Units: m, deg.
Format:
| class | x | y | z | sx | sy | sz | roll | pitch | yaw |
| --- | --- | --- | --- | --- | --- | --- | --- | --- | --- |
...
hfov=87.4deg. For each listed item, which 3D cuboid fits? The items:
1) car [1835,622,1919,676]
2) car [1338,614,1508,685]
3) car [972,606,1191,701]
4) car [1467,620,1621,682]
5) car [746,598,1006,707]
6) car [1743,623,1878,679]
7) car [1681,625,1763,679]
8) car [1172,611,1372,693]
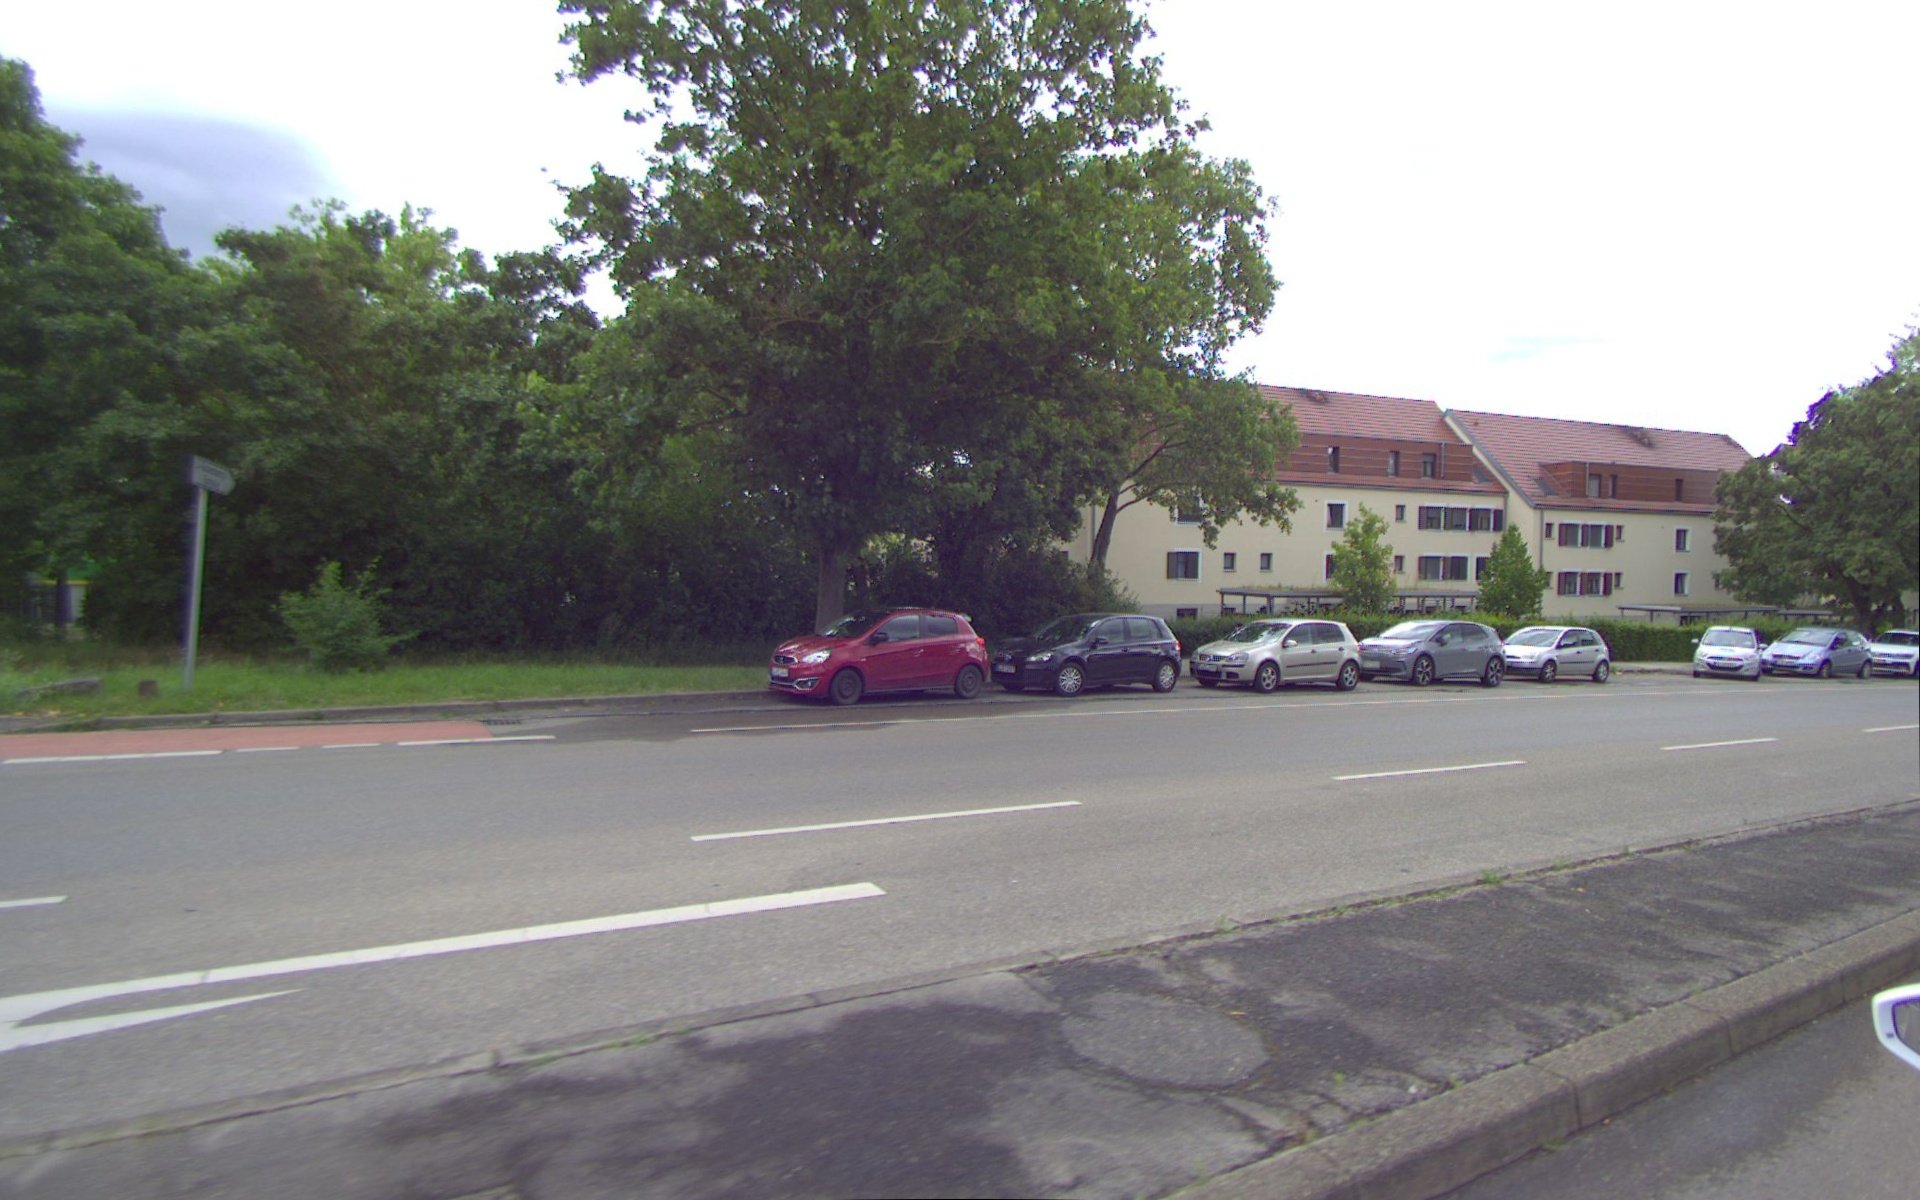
| class | x | y | z | sx | sy | sz | roll | pitch | yaw |
| --- | --- | --- | --- | --- | --- | --- | --- | --- | --- |
| car | 33.051 | 1.749 | 35.222 | 4.330 | 1.689 | 1.870 | 3 | 0 | -24 |
| car | 11.282 | 1.197 | 24.433 | 3.955 | 1.527 | 1.865 | 2 | 0 | -32 |
| car | 2.337 | 0.966 | 18.862 | 3.968 | 1.527 | 1.859 | 2 | 0 | -41 |
| car | 15.783 | 1.357 | 27.140 | 3.953 | 1.527 | 1.866 | 2 | 0 | -30 |
| car | -1.319 | 0.815 | 16.498 | 3.854 | 1.527 | 1.860 | 2 | 1 | -38 |
| car | 28.254 | 1.680 | 33.375 | 3.945 | 1.618 | 1.870 | 3 | 0 | -24 |
| car | 23.892 | 1.585 | 31.449 | 1.853 | 1.527 | 3.981 | 1 | -1 | 40 |
| car | 6.648 | 1.083 | 21.305 | 4.012 | 1.527 | 1.865 | 2 | 0 | -32 |
